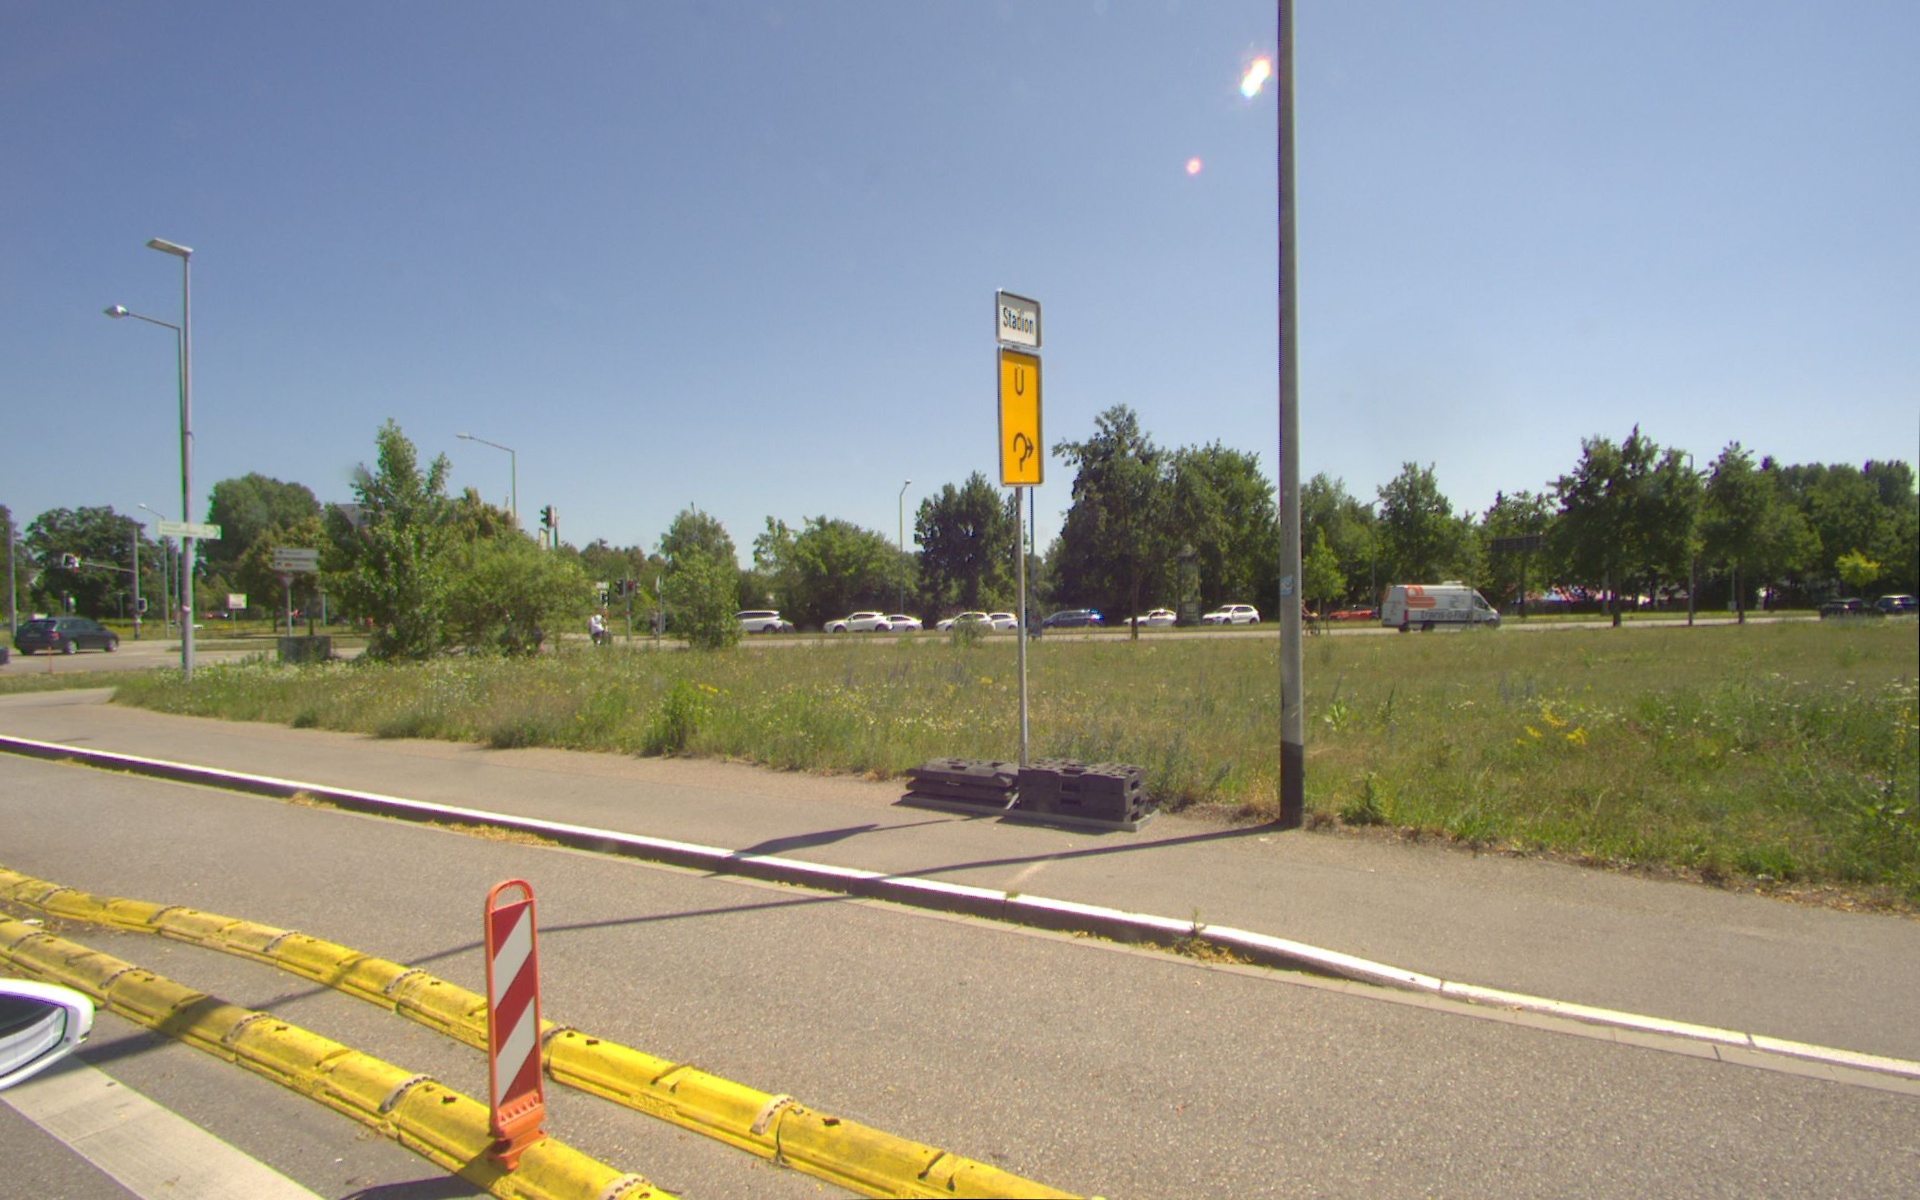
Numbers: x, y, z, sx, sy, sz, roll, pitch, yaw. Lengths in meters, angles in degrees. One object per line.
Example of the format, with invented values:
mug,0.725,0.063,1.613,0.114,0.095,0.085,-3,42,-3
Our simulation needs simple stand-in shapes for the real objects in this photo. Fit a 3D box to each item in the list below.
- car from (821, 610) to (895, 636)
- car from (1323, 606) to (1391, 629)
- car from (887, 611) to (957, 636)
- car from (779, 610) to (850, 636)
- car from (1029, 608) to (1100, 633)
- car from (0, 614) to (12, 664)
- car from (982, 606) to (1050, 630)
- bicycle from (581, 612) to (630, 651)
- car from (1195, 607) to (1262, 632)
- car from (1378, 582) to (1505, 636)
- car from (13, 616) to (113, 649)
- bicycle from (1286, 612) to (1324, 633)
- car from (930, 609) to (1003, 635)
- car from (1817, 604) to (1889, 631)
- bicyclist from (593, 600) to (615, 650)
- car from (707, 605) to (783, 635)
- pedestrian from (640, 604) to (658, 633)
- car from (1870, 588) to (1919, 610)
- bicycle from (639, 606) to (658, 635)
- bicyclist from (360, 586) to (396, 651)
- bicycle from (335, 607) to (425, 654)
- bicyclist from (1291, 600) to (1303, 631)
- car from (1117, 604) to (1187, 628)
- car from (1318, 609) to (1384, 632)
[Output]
car,-6.402,1.474,62.877,4.366,1.612,1.846,0,-2,-16
car,28.999,1.308,73.172,4.366,1.612,1.846,0,-2,-16
car,-2.574,1.574,66.897,4.366,1.612,1.846,0,-2,-16
car,-9.464,1.518,64.916,4.366,1.612,1.846,0,-2,-16
car,6.941,1.374,66.550,4.366,1.612,1.846,0,-2,-16
car,-30.239,1.162,28.341,2.036,1.500,4.533,0,0,20
car,3.867,1.221,69.201,4.365,1.613,1.845,0,0,-16
bicycle,-13.172,1.183,37.306,0.628,1.370,2.896,0,-2,4
car,18.197,1.339,67.740,4.382,1.612,1.839,1,-2,-31
car,26.483,0.549,55.078,6.764,2.864,1.997,0,-1,-18
car,-35.551,1.304,39.776,1.411,1.275,3.217,0,-2,-8
bicycle,14.791,0.956,42.957,1.564,0.895,0.369,0,-1,-10
car,0.406,1.455,64.875,4.366,1.612,1.846,0,-2,-16
car,56.494,1.096,63.367,3.933,1.573,1.722,1,1,-21
bicyclist,-13.267,0.926,37.323,0.597,1.864,0.572,0,-1,2
car,-13.010,1.211,60.586,4.366,1.758,1.846,0,-2,-16
pedestrian,-17.890,1.084,57.658,0.954,1.681,0.885,0,-1,-16
car,69.708,-0.085,73.920,4.344,1.617,1.994,0,1,-20
bicycle,-17.944,1.215,57.692,0.967,1.617,2.879,0,-2,-16
bicyclist,-16.162,0.496,27.811,0.584,1.776,0.668,1,2,34
bicycle,-16.128,0.827,27.901,0.625,1.237,2.086,0,0,34
bicyclist,14.449,0.670,42.890,0.349,1.336,0.379,0,-1,-9
car,13.154,1.115,68.512,4.366,1.612,1.846,0,-2,-16
car,28.730,1.526,73.564,4.337,1.612,1.846,0,-2,-16
